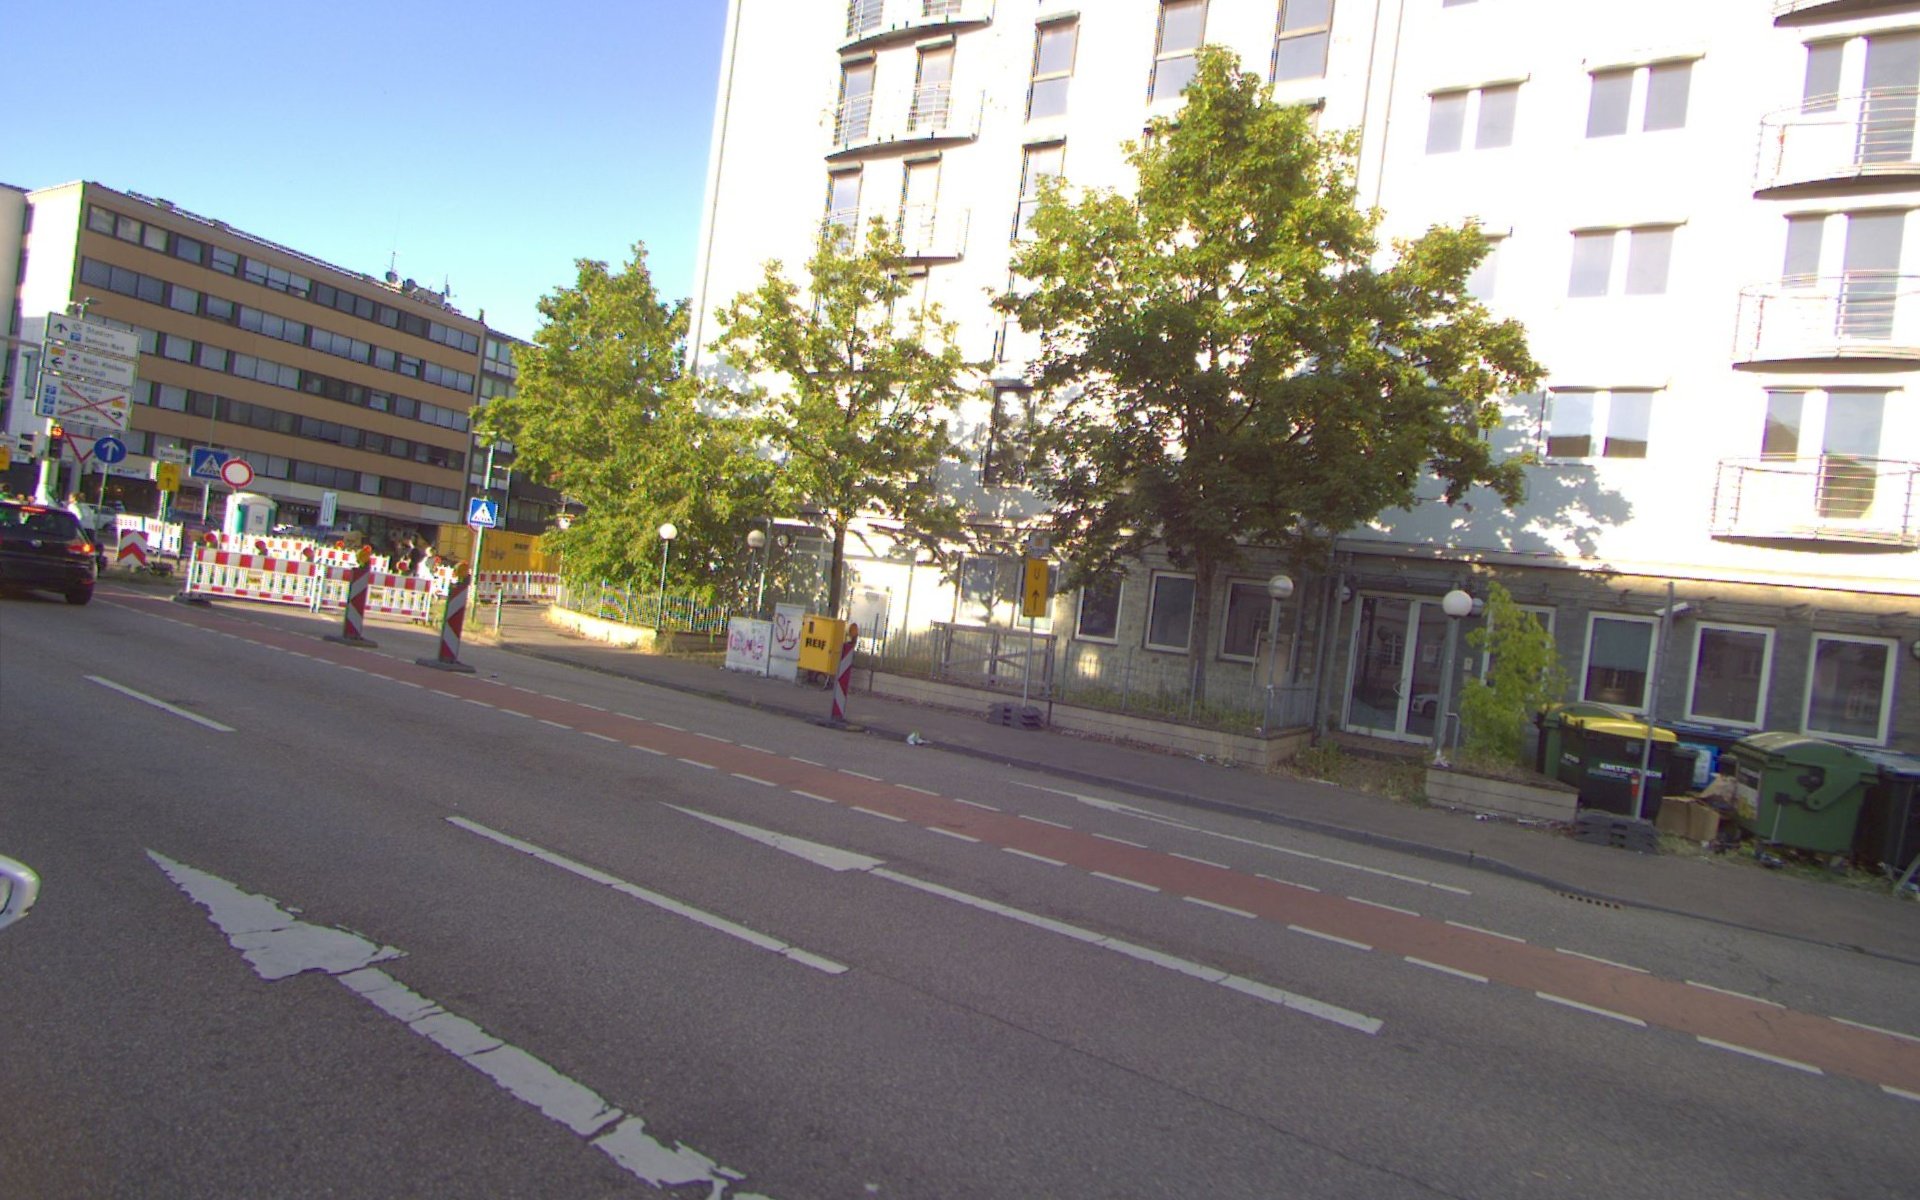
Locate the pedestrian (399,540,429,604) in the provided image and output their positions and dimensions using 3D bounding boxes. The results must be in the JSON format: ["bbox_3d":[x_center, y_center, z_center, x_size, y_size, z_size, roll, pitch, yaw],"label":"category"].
[{"bbox_3d":[-16.460,-0.840,30.320,0.480,1.857,0.570,7,0,-14],"label":"pedestrian"}]

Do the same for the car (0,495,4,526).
[{"bbox_3d":[-19.642,-1.449,18.964,3.251,1.466,1.507,7,-1,32],"label":"car"}]

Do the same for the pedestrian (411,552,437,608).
[{"bbox_3d":[-16.663,-0.618,31.276,0.448,1.691,0.601,7,0,-18],"label":"pedestrian"}]

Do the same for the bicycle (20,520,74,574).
[{"bbox_3d":[-19.960,-1.170,21.981,1.825,1.020,0.337,7,0,33],"label":"bicycle"}]

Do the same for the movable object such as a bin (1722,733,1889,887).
[{"bbox_3d":[9.809,2.387,11.755,1.087,1.441,1.350,7,0,28],"label":"movable object such as a bin"}]

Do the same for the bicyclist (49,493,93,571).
[{"bbox_3d":[-18.302,-1.398,20.716,0.474,1.544,0.441,7,0,32],"label":"bicyclist"}]

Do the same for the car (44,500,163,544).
[{"bbox_3d":[-41.729,-3.779,49.114,1.756,1.437,3.998,7,-1,26],"label":"car"}]

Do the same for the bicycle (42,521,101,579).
[{"bbox_3d":[-18.287,-1.036,20.695,1.825,1.020,0.337,7,0,33],"label":"bicycle"}]

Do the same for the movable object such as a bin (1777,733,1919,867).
[{"bbox_3d":[12.078,2.679,13.717,1.142,1.517,1.034,7,0,29],"label":"movable object such as a bin"}]

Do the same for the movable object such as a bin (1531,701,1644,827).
[{"bbox_3d":[8.695,2.236,14.018,1.087,1.478,1.350,7,0,28],"label":"movable object such as a bin"}]

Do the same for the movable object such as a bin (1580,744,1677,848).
[{"bbox_3d":[8.210,2.388,12.395,0.805,1.058,0.852,7,0,28],"label":"movable object such as a bin"}]

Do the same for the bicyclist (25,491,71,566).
[{"bbox_3d":[-19.976,-1.564,22.029,0.713,1.544,0.441,7,0,32],"label":"bicyclist"}]

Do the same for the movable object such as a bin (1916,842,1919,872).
[{"bbox_3d":[12.234,2.657,11.779,1.142,1.466,1.034,7,0,29],"label":"movable object such as a bin"}]

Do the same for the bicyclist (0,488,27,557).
[{"bbox_3d":[-22.410,-1.824,23.561,0.713,1.544,0.514,7,0,32],"label":"bicyclist"}]

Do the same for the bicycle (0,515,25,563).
[{"bbox_3d":[-22.438,-1.468,23.499,1.825,1.020,0.337,7,0,33],"label":"bicycle"}]

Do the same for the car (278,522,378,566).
[{"bbox_3d":[-35.491,-3.131,56.609,1.967,1.839,4.221,7,-1,32],"label":"car"}]

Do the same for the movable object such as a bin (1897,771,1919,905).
[{"bbox_3d":[10.557,2.551,10.259,1.142,1.344,0.955,7,0,29],"label":"movable object such as a bin"}]

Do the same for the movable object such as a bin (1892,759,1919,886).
[{"bbox_3d":[11.283,2.558,11.100,1.142,1.344,0.955,7,0,29],"label":"movable object such as a bin"}]

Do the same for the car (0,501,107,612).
[{"bbox_3d":[-15.157,-0.822,15.735,3.684,1.465,1.637,7,-2,32],"label":"car"}]
